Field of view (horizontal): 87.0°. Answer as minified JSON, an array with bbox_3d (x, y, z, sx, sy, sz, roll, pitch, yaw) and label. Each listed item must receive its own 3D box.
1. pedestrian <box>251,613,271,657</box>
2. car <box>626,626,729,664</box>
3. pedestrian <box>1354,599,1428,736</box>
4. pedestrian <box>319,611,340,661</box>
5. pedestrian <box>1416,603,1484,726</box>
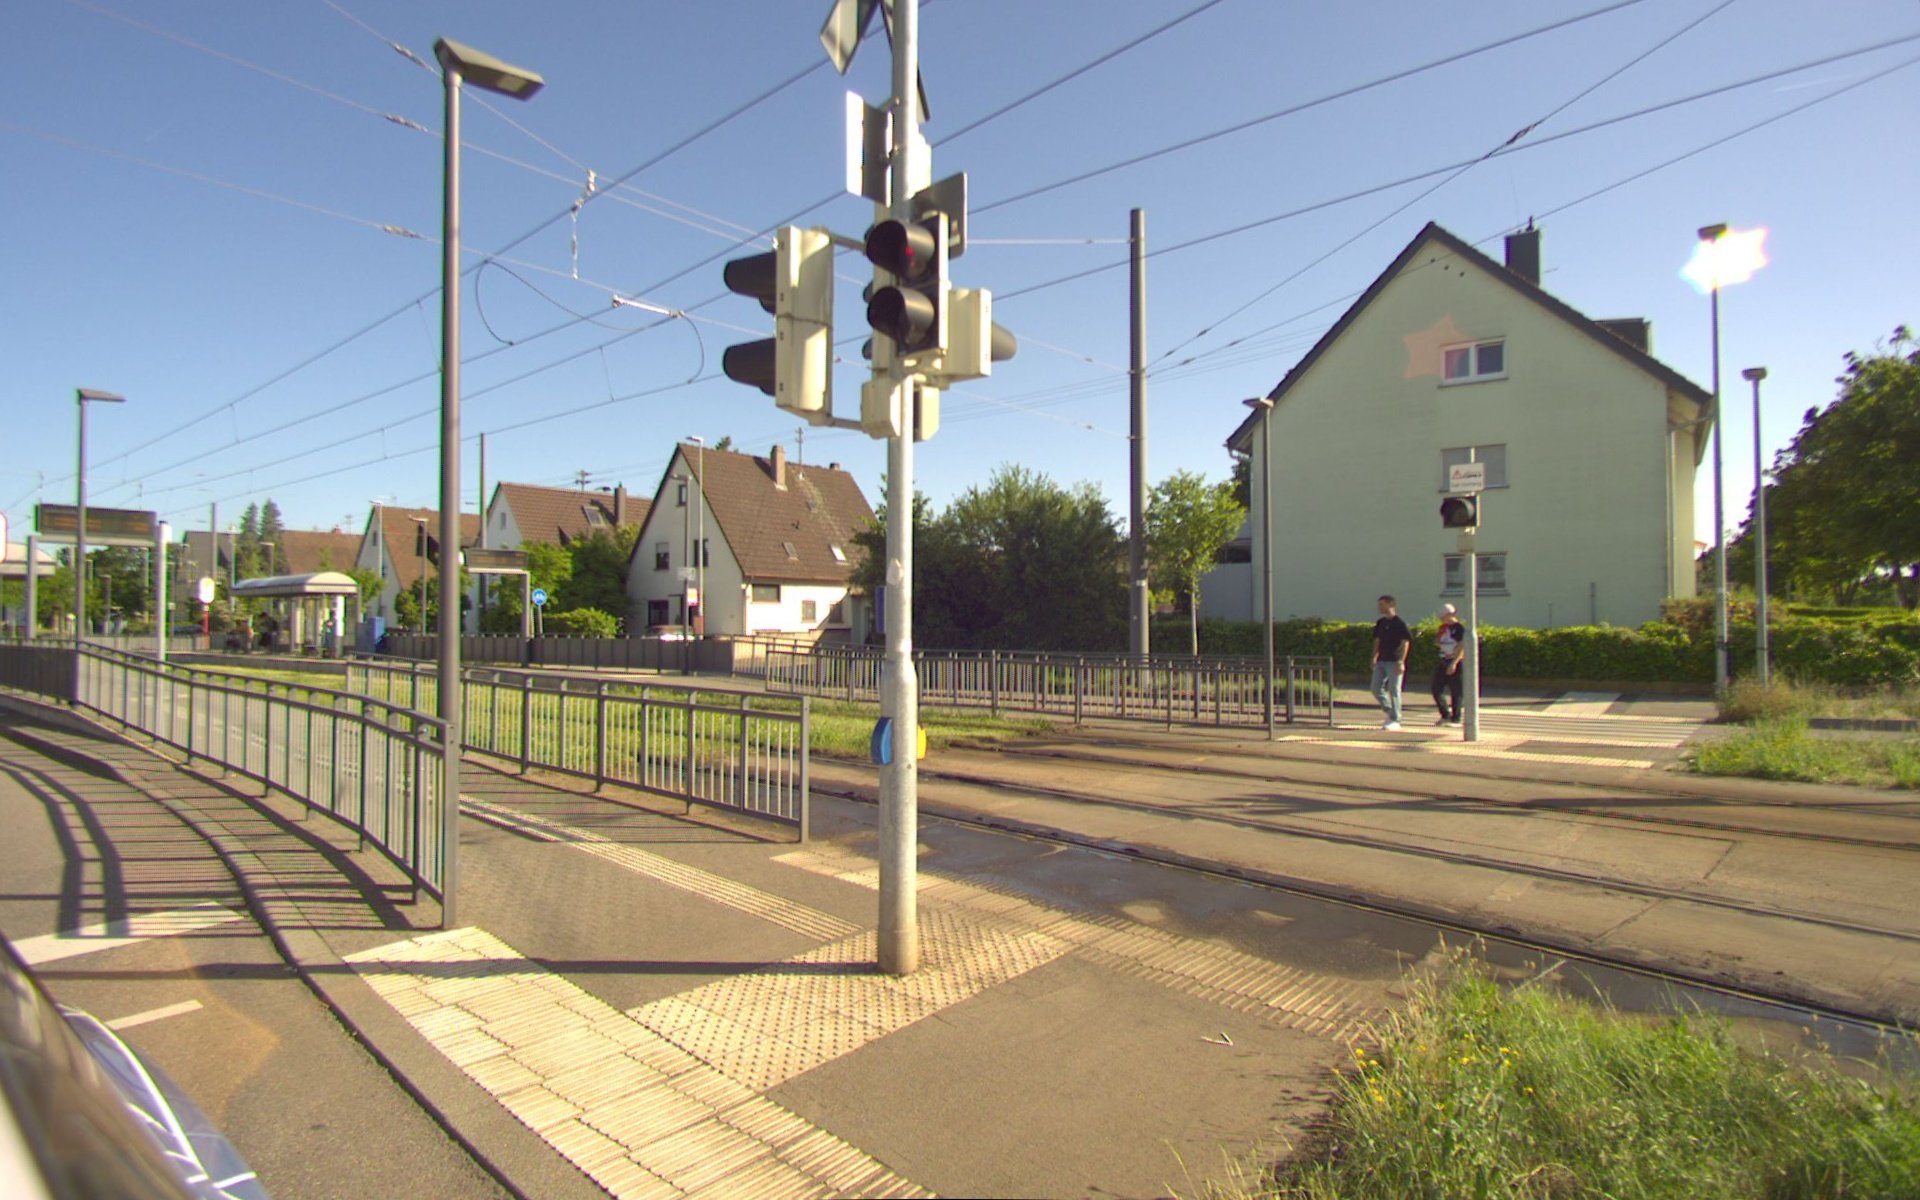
[{"bbox_3d":[-28.402,1.429,41.146,0.543,1.766,0.528,-2,-2,40],"label":"pedestrian"},{"bbox_3d":[-12.236,1.928,44.060,1.997,1.547,3.941,-2,-2,37],"label":"car"},{"bbox_3d":[5.846,0.886,13.761,0.818,1.784,0.686,1,1,16],"label":"pedestrian"},{"bbox_3d":[-22.787,1.304,36.585,0.612,1.766,0.443,1,-2,-30],"label":"pedestrian"},{"bbox_3d":[6.981,0.889,14.451,0.721,1.673,0.792,1,1,16],"label":"pedestrian"}]
